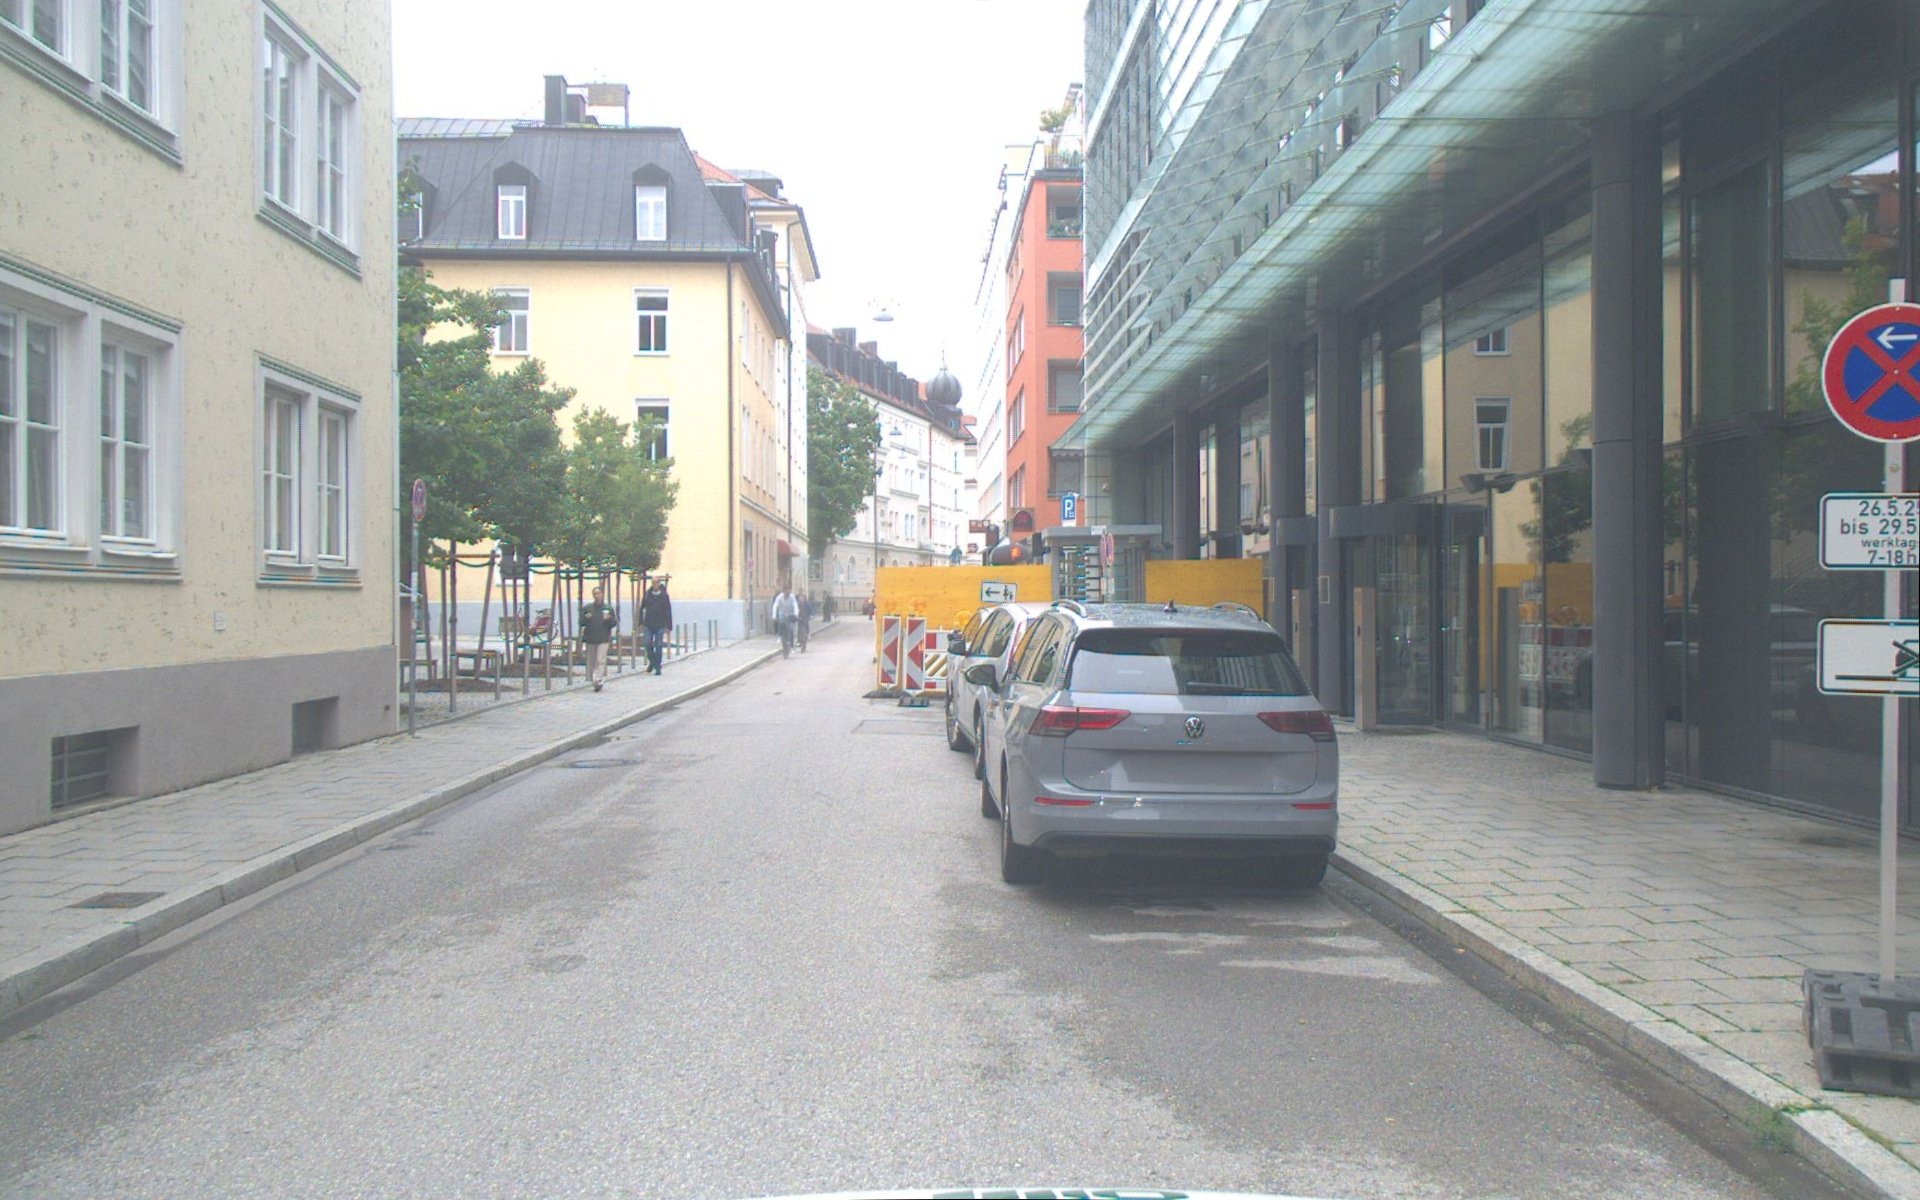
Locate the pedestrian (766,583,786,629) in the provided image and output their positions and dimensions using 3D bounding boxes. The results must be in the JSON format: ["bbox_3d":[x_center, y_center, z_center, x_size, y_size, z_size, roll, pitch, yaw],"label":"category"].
[{"bbox_3d":[-6.718,0.217,60.453,0.657,1.677,0.761,0,0,-3],"label":"pedestrian"}]

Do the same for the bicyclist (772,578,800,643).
[{"bbox_3d":[-4.506,0.271,42.866,0.646,1.671,0.895,-1,0,-3],"label":"bicyclist"}]

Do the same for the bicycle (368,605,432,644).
[{"bbox_3d":[-16.338,0.710,48.276,1.621,1.088,0.598,1,0,1],"label":"bicycle"}]

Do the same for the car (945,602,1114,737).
[{"bbox_3d":[0.739,0.774,20.304,1.673,1.439,4.507,1,0,-2],"label":"car"}]

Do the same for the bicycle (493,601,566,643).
[{"bbox_3d":[-12.678,0.637,48.746,2.000,1.218,0.570,0,0,5],"label":"bicycle"}]

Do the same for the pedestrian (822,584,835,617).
[{"bbox_3d":[-6.768,0.012,85.358,0.622,1.704,0.517,0,0,-3],"label":"pedestrian"}]

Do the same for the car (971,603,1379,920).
[{"bbox_3d":[1.020,0.749,9.857,1.674,1.457,4.327,0,0,-3],"label":"car"}]

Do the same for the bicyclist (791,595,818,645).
[{"bbox_3d":[-4.428,0.569,47.179,0.693,1.395,0.813,-1,0,-3],"label":"bicyclist"}]

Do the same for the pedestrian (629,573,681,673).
[{"bbox_3d":[-5.982,0.447,32.497,0.850,1.914,1.134,0,0,-3],"label":"pedestrian"}]

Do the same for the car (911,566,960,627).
[{"bbox_3d":[-1.122,-0.156,72.378,1.954,2.581,4.972,0,0,-3],"label":"car"}]

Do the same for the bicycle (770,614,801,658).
[{"bbox_3d":[-4.495,0.915,42.704,0.648,1.057,2.003,-1,0,-3],"label":"bicycle"}]

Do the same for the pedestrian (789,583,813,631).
[{"bbox_3d":[-5.773,0.263,60.104,0.822,1.730,0.802,0,0,-3],"label":"pedestrian"}]

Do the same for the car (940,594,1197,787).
[{"bbox_3d":[0.840,0.726,15.147,1.674,1.493,4.232,1,0,-6],"label":"car"}]

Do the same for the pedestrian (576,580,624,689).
[{"bbox_3d":[-5.725,0.544,26.333,0.634,1.706,0.723,0,0,-3],"label":"pedestrian"}]

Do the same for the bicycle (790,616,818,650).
[{"bbox_3d":[-4.431,0.923,47.152,0.693,0.921,1.808,-1,0,-3],"label":"bicycle"}]
